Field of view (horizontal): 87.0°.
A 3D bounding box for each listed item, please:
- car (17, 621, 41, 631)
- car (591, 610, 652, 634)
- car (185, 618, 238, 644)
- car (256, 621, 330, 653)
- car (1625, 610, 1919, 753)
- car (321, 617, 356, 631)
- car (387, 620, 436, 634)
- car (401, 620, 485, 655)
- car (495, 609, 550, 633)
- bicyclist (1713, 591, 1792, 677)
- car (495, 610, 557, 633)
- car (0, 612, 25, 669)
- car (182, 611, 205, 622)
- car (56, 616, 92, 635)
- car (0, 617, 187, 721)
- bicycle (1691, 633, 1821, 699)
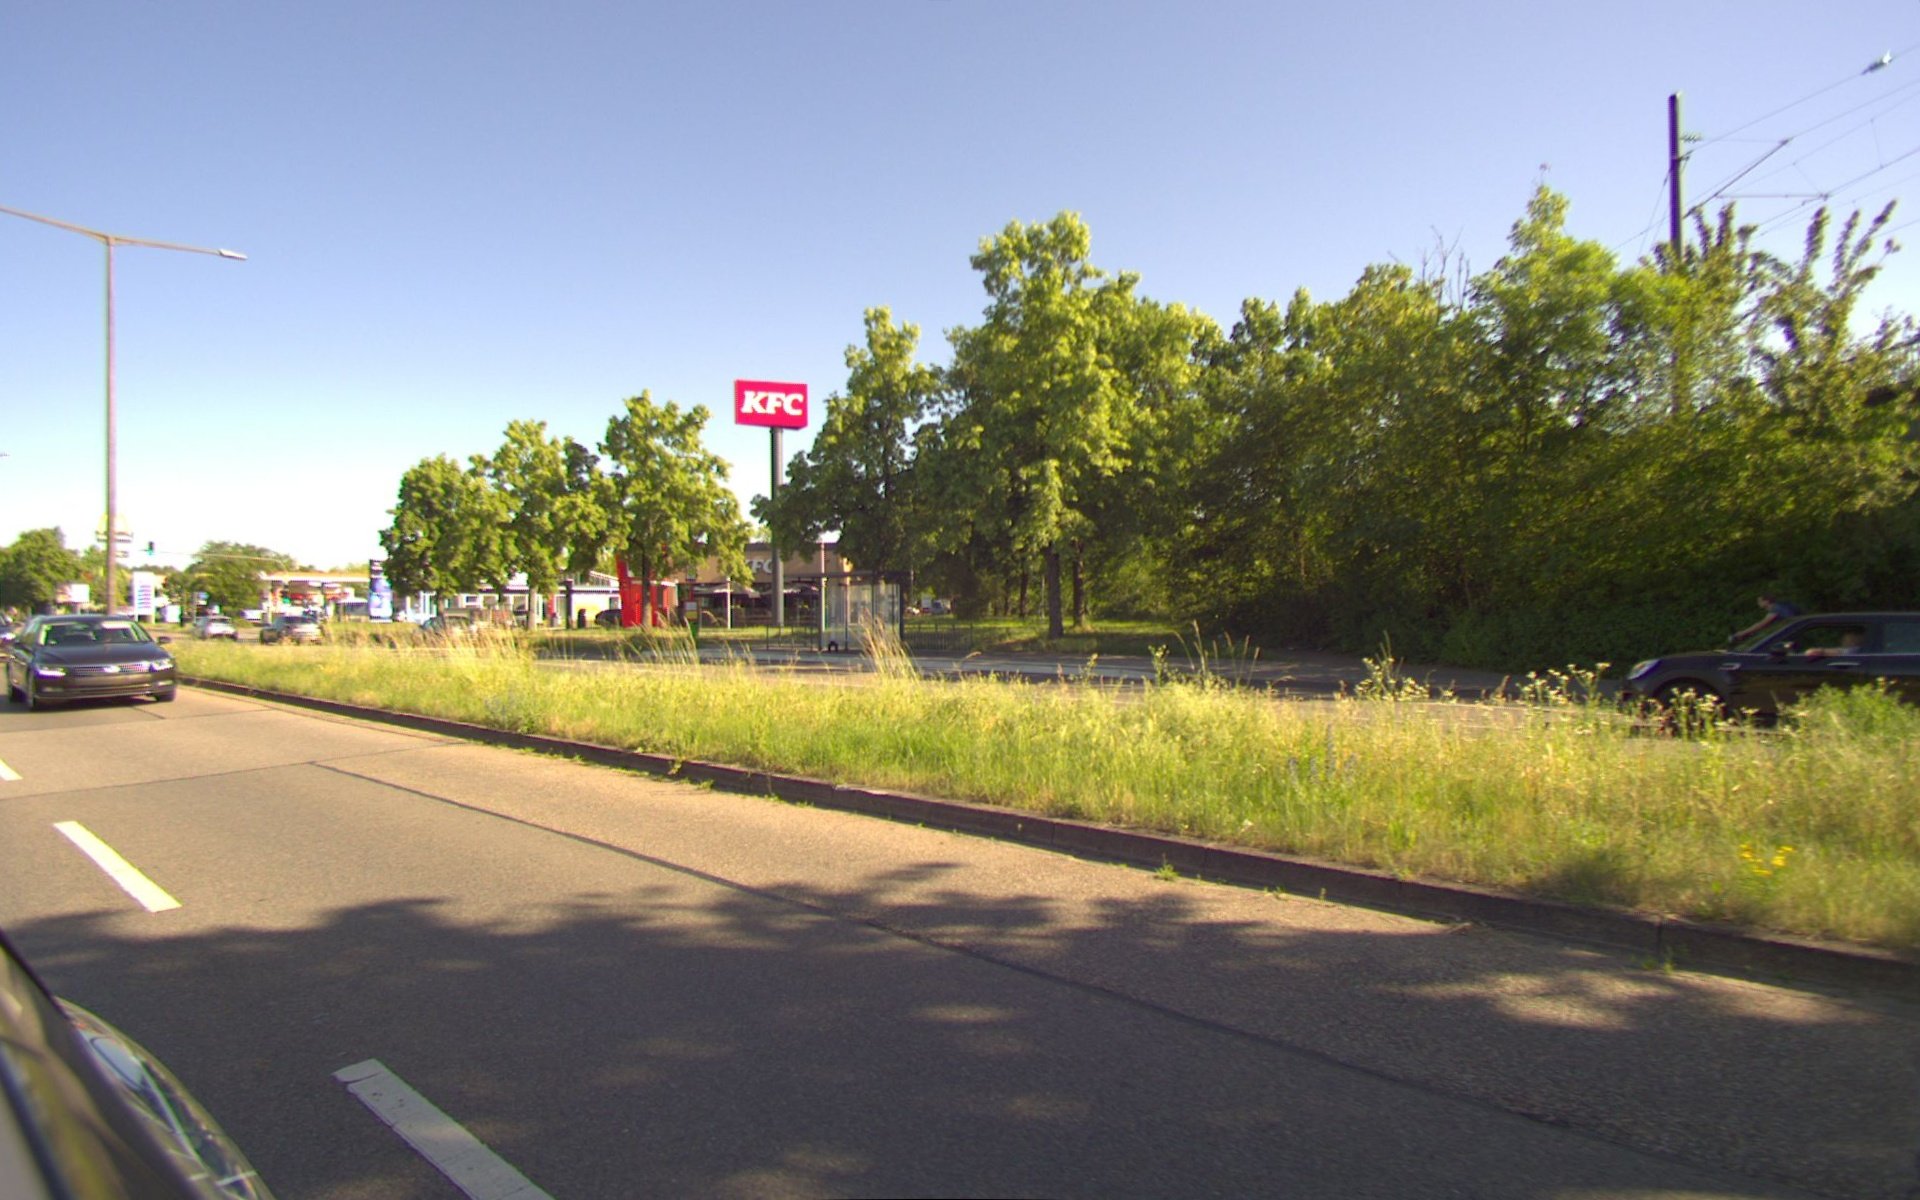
[{"bbox_3d":[-127.060,3.564,138.107,4.621,1.387,1.973,-1,-1,41],"label":"car"},{"bbox_3d":[-26.609,1.724,79.593,4.181,1.674,1.896,-1,1,-1],"label":"car"},{"bbox_3d":[-43.932,1.798,59.347,4.110,1.462,1.624,-1,-3,41],"label":"car"},{"bbox_3d":[-32.035,1.757,48.561,4.628,1.446,1.798,-1,-3,41],"label":"car"},{"bbox_3d":[9.931,0.838,11.218,4.088,1.453,1.797,-1,-1,41],"label":"car"},{"bbox_3d":[-65.301,2.514,106.278,4.116,1.335,1.876,-1,-2,40],"label":"car"},{"bbox_3d":[-57.728,2.850,106.539,1.900,1.443,4.063,-1,-2,41],"label":"car"},{"bbox_3d":[-23.584,1.691,46.105,4.488,1.466,1.894,-1,-3,41],"label":"car"},{"bbox_3d":[-36.659,1.775,84.870,3.778,1.864,1.847,-1,0,2],"label":"car"},{"bbox_3d":[13.592,0.561,17.367,1.026,1.412,0.673,-1,1,41],"label":"bicyclist"},{"bbox_3d":[-34.462,1.714,80.462,4.074,1.674,1.896,-1,1,-1],"label":"car"},{"bbox_3d":[-31.010,1.270,31.769,4.694,1.696,1.973,-1,1,42],"label":"car"},{"bbox_3d":[-111.730,2.387,147.507,4.116,1.625,1.739,-1,-2,40],"label":"car"},{"bbox_3d":[-81.243,2.329,92.786,4.175,1.697,1.972,-1,-2,42],"label":"car"},{"bbox_3d":[-14.477,1.039,16.827,4.264,1.464,1.824,-1,0,42],"label":"car"},{"bbox_3d":[13.623,1.101,17.349,1.714,1.038,0.676,-1,1,41],"label":"bicycle"}]
